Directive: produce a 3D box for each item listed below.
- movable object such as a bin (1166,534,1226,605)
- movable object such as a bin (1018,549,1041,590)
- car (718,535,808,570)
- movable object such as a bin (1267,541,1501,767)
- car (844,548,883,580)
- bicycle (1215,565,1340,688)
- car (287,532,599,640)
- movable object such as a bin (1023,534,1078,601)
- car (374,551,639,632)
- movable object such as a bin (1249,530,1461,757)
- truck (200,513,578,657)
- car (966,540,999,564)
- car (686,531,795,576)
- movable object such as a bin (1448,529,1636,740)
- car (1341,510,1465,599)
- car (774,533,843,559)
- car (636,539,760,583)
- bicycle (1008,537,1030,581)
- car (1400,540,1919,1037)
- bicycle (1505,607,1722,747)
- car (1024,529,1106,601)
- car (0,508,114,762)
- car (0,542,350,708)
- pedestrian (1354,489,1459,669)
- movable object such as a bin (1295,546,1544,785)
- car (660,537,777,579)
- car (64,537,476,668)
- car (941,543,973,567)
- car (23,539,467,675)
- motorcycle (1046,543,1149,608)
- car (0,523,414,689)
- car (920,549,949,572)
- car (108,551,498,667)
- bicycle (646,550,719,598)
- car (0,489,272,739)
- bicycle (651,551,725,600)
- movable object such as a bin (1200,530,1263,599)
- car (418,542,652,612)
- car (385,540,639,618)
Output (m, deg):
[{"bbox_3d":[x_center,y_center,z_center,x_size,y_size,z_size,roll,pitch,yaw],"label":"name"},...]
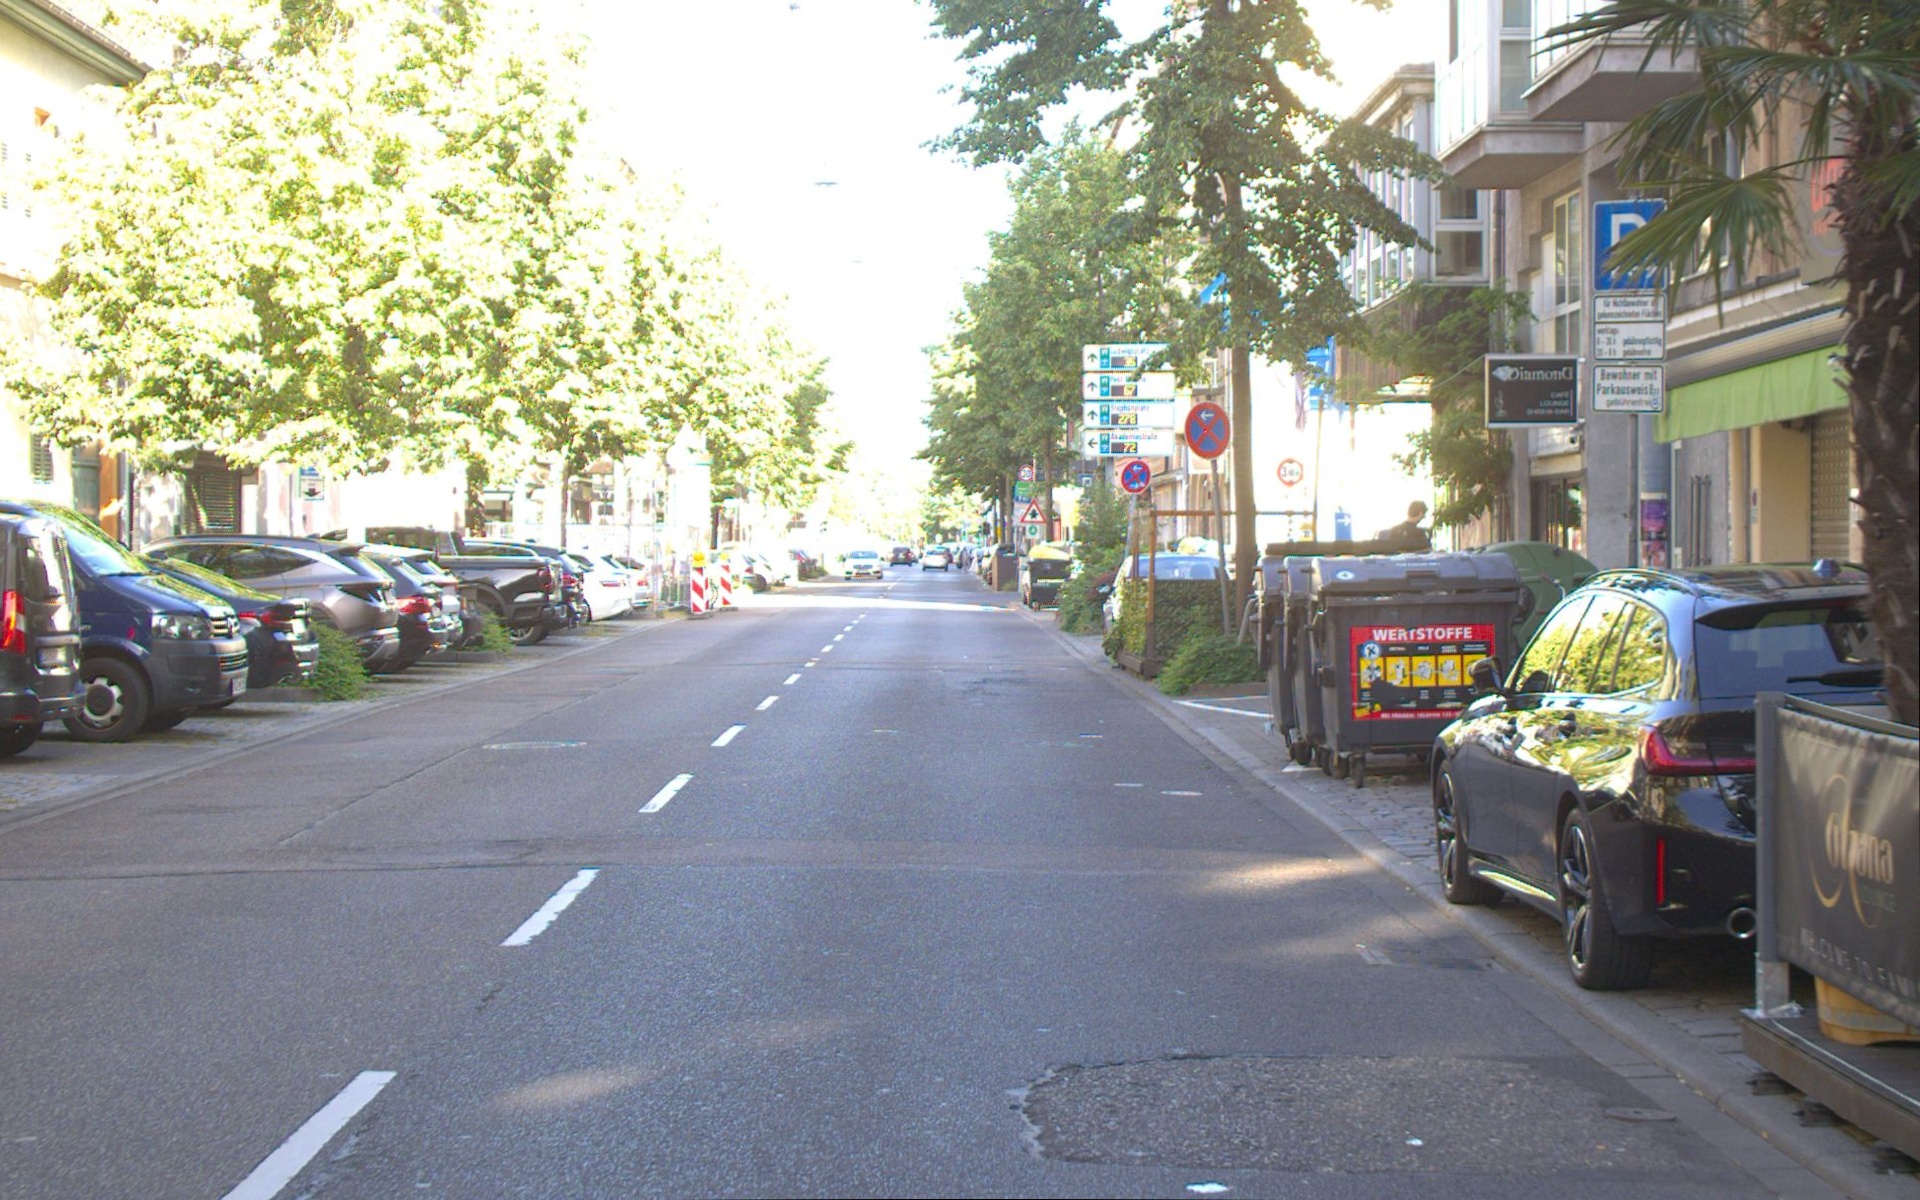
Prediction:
[{"bbox_3d":[5.465,-0.716,79.773,1.205,1.622,1.498,-1,1,-2],"label":"movable object such as a bin"},{"bbox_3d":[2.010,-0.894,99.459,0.621,1.175,0.712,-1,1,-3],"label":"movable object such as a bin"},{"bbox_3d":[-8.908,-2.154,156.047,3.987,1.494,2.000,-1,1,-1],"label":"car"},{"bbox_3d":[2.816,0.343,22.979,1.399,1.449,1.146,-1,1,0],"label":"movable object such as a bin"},{"bbox_3d":[-4.641,-1.760,165.775,1.802,1.430,4.410,-3,1,-1],"label":"car"},{"bbox_3d":[3.159,0.246,34.350,0.607,1.116,2.056,-8,2,-9],"label":"bicycle"},{"bbox_3d":[-8.193,-0.229,54.788,4.680,1.687,1.808,0,1,1],"label":"car"},{"bbox_3d":[2.173,-0.783,82.340,1.143,1.556,1.459,-1,1,8],"label":"movable object such as a bin"},{"bbox_3d":[-8.254,-0.168,62.842,4.680,1.460,1.808,0,1,-3],"label":"car"},{"bbox_3d":[2.759,0.287,24.142,1.330,1.537,1.146,-1,1,0],"label":"movable object such as a bin"},{"bbox_3d":[-8.169,-0.235,49.509,5.084,1.931,2.000,-1,1,-1],"label":"truck"},{"bbox_3d":[1.430,-3.041,219.538,1.993,1.503,4.000,0,0,-1],"label":"car"},{"bbox_3d":[-8.494,-1.811,133.280,3.987,1.688,2.000,-1,1,4],"label":"car"},{"bbox_3d":[4.066,0.223,24.127,1.077,1.426,1.295,-1,1,0],"label":"movable object such as a bin"},{"bbox_3d":[8.663,-0.905,67.536,1.901,1.642,4.293,-1,1,1],"label":"car"},{"bbox_3d":[-8.859,-3.164,201.015,3.987,1.494,2.000,-1,1,-1],"label":"car"},{"bbox_3d":[-8.709,-1.298,114.584,3.987,1.385,2.000,-1,1,-1],"label":"car"},{"bbox_3d":[2.028,-1.431,118.502,0.560,1.436,1.628,-7,1,0],"label":"bicycle"},{"bbox_3d":[2.975,0.550,13.257,1.822,1.467,4.912,-3,1,0],"label":"car"},{"bbox_3d":[4.283,0.500,22.642,0.568,0.869,1.642,-1,0,-23],"label":"bicycle"},{"bbox_3d":[2.617,-0.911,86.656,1.822,1.673,4.601,-3,1,0],"label":"car"},{"bbox_3d":[-8.582,0.226,24.822,4.466,1.766,1.916,0,1,1],"label":"car"},{"bbox_3d":[-7.973,0.208,31.044,4.645,1.454,1.684,0,1,0],"label":"car"},{"bbox_3d":[4.858,-0.230,37.382,0.926,1.929,0.760,0,1,25],"label":"pedestrian"},{"bbox_3d":[2.896,0.397,21.816,1.399,1.449,1.146,-1,1,0],"label":"movable object such as a bin"},{"bbox_3d":[-8.427,-1.469,120.370,3.987,1.385,2.000,-1,1,-1],"label":"car"},{"bbox_3d":[-8.406,0.014,42.141,4.680,1.566,1.808,0,1,1],"label":"car"},{"bbox_3d":[-0.188,-2.818,215.431,1.822,1.386,4.301,-3,1,-1],"label":"car"},{"bbox_3d":[-8.129,0.067,39.352,4.680,1.514,1.808,0,1,1],"label":"car"},{"bbox_3d":[2.875,-0.519,72.006,1.977,1.325,0.912,-1,1,-12],"label":"motorcycle"},{"bbox_3d":[-8.264,0.044,36.336,4.680,1.706,1.808,0,1,1],"label":"car"},{"bbox_3d":[-1.633,-2.516,220.407,1.792,1.406,4.000,-1,1,-1],"label":"car"},{"bbox_3d":[-8.449,0.099,44.472,4.680,1.458,1.808,0,1,1],"label":"car"},{"bbox_3d":[-7.217,-0.675,89.452,1.854,1.248,0.600,0,1,-8],"label":"bicycle"},{"bbox_3d":[-8.089,0.094,27.731,4.680,1.943,1.916,0,1,1],"label":"car"},{"bbox_3d":[-6.997,-0.633,88.439,1.854,1.248,0.600,0,1,-8],"label":"bicycle"},{"bbox_3d":[6.180,-0.820,78.403,1.270,1.525,1.177,-1,1,-2],"label":"movable object such as a bin"},{"bbox_3d":[-8.703,-0.477,70.676,4.680,1.407,1.808,0,1,-3],"label":"car"},{"bbox_3d":[-8.501,-0.406,65.575,4.680,1.460,1.808,0,1,-3],"label":"car"}]
